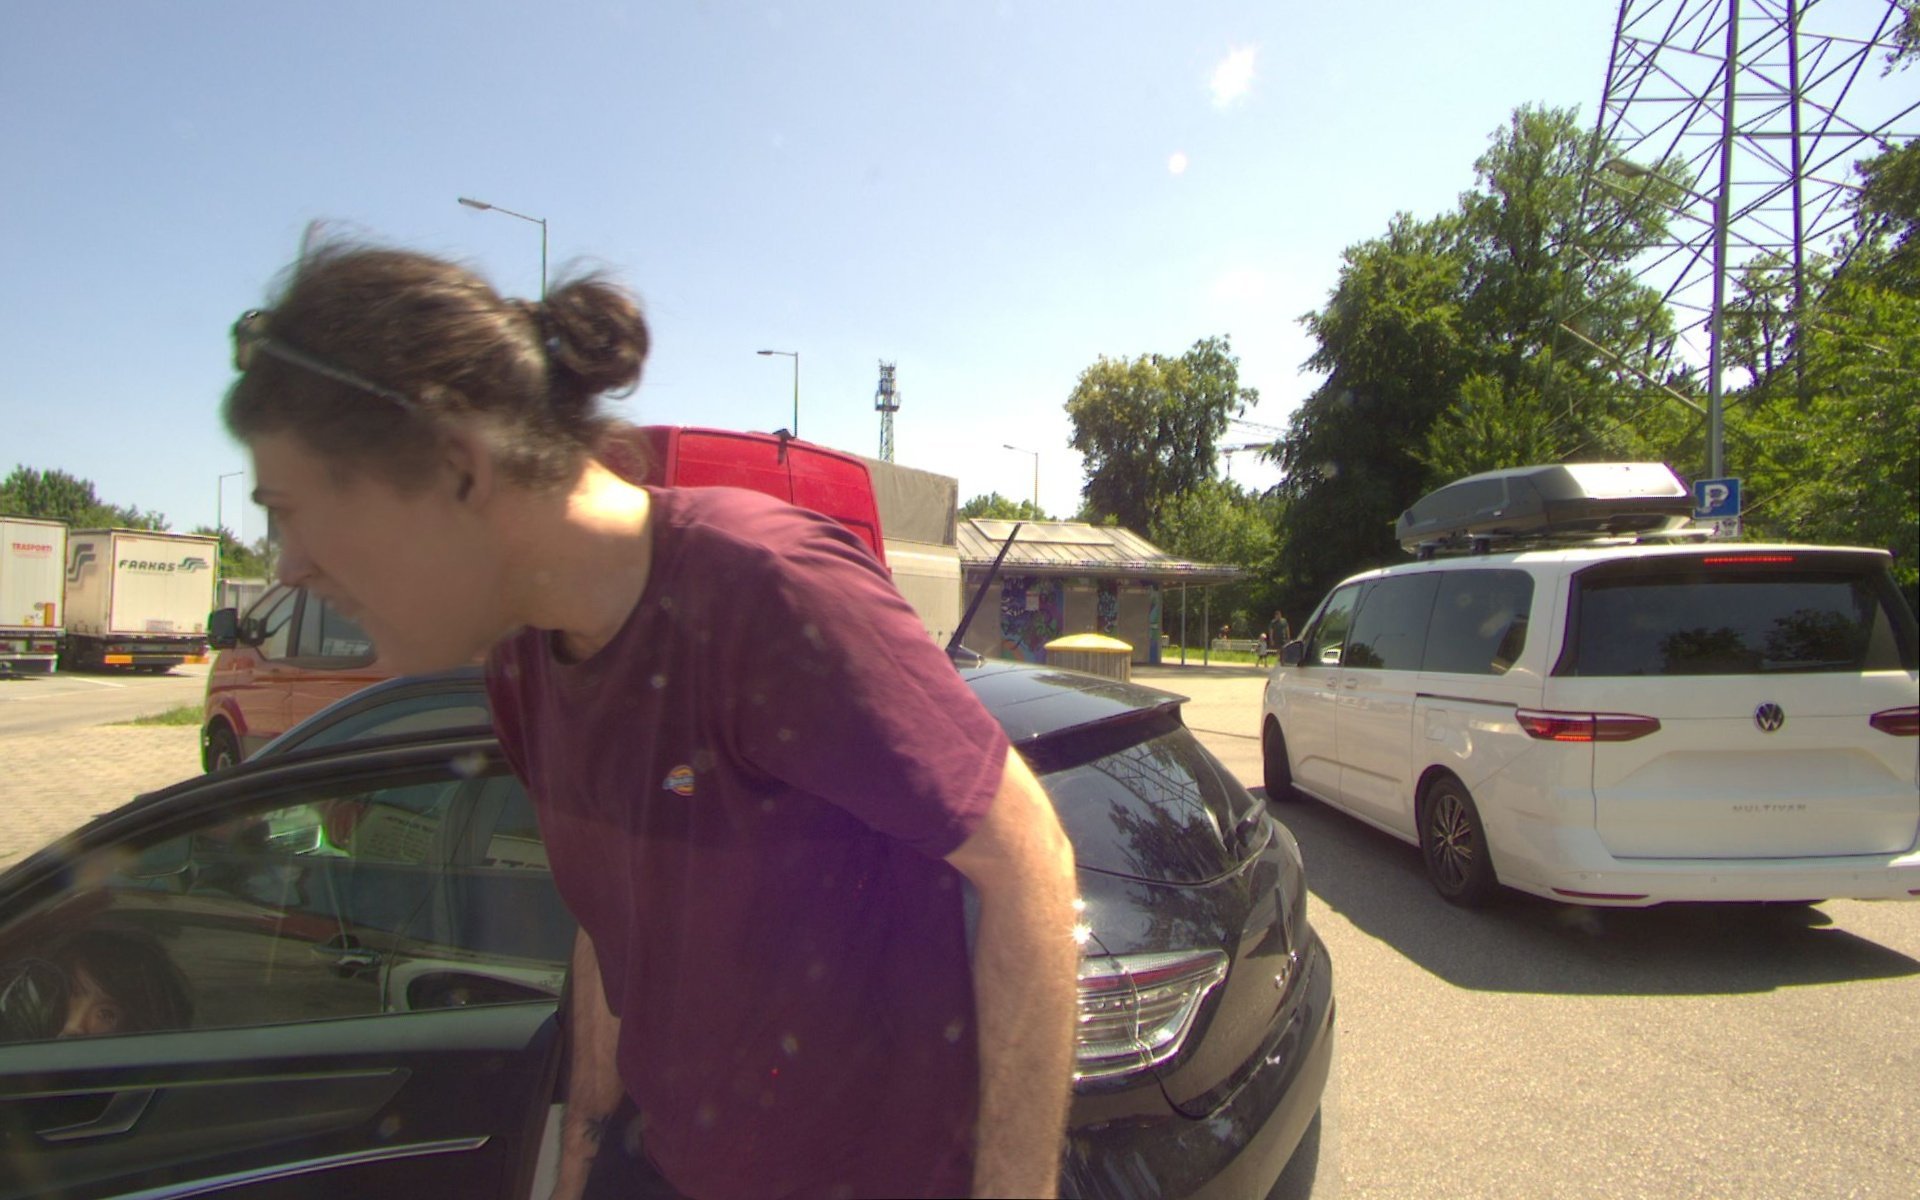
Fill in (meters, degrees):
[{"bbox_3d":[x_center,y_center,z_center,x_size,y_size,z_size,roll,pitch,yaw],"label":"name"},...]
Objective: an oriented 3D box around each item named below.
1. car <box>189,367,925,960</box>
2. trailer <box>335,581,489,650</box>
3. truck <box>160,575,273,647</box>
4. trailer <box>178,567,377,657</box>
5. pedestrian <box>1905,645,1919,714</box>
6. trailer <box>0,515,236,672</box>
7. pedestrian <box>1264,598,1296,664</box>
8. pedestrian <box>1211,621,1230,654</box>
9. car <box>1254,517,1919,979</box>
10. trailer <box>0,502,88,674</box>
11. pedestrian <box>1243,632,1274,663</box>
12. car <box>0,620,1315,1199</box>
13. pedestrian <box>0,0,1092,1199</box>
[{"bbox_3d":[-3.357,0.317,7.357,6.310,2.731,2.060,0,-1,37],"label":"car"},{"bbox_3d":[-36.039,0.925,65.440,13.530,4.101,2.834,1,-2,34],"label":"trailer"},{"bbox_3d":[-37.687,0.566,50.747,5.405,3.407,2.848,1,-2,34],"label":"truck"},{"bbox_3d":[-32.379,0.486,47.147,13.530,3.764,2.834,1,-2,34],"label":"trailer"},{"bbox_3d":[17.188,1.393,17.470,0.876,1.192,0.666,-1,-2,32],"label":"pedestrian"},{"bbox_3d":[-27.657,-0.195,31.635,13.523,4.184,2.835,1,-2,33],"label":"trailer"},{"bbox_3d":[10.060,0.973,31.499,0.634,2.067,0.778,0,-1,-10],"label":"pedestrian"},{"bbox_3d":[12.042,1.736,46.365,0.636,1.547,0.563,1,-1,-25],"label":"pedestrian"},{"bbox_3d":[3.487,0.676,6.492,1.875,1.937,4.565,0,-1,1],"label":"car"},{"bbox_3d":[-28.966,-0.378,28.155,13.523,4.184,2.835,1,-2,33],"label":"trailer"},{"bbox_3d":[9.379,1.491,31.468,0.634,0.960,0.778,0,-2,-10],"label":"pedestrian"},{"bbox_3d":[-1.067,0.842,2.905,3.757,1.501,1.736,0,-1,27],"label":"car"},{"bbox_3d":[-0.404,0.600,0.974,0.878,1.865,0.618,-1,-1,35],"label":"pedestrian"}]
